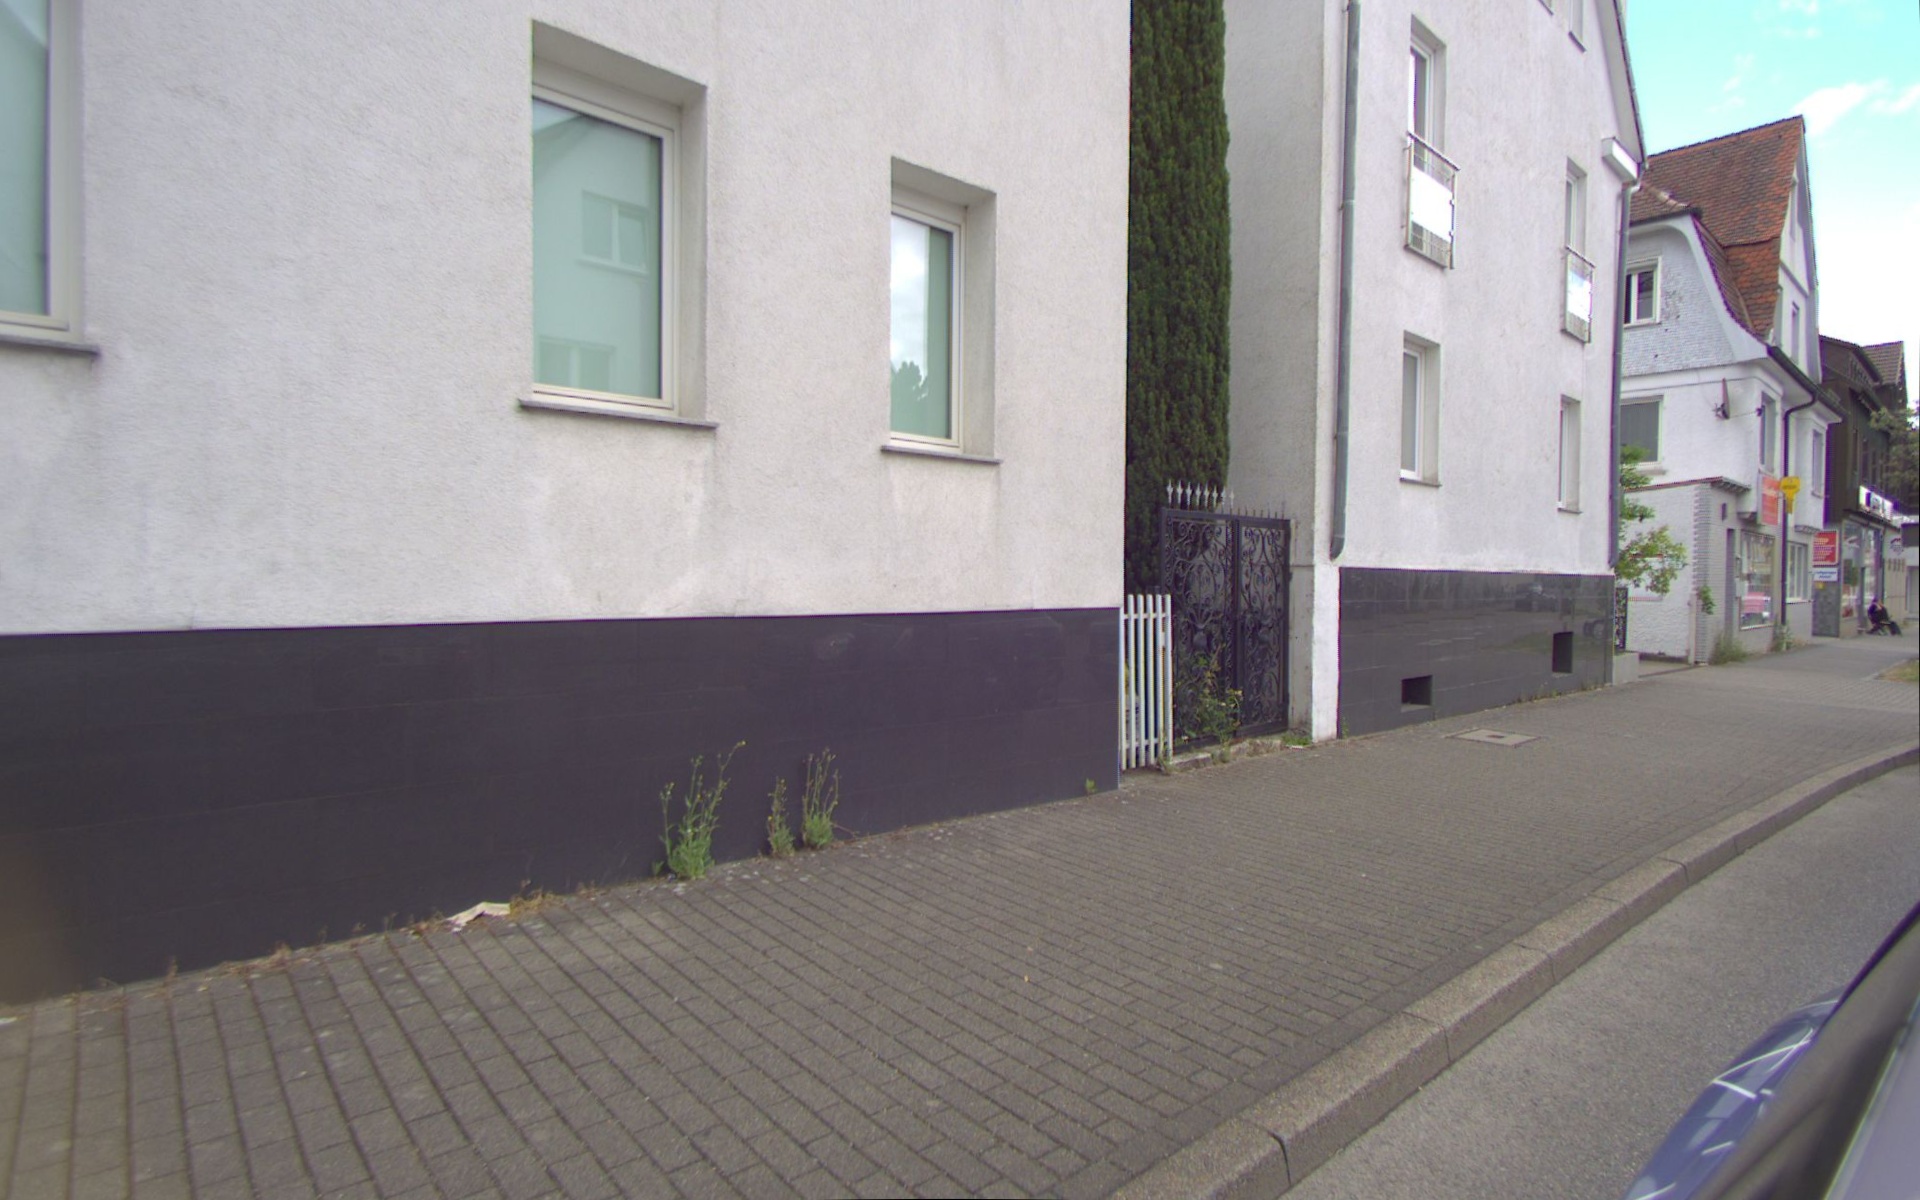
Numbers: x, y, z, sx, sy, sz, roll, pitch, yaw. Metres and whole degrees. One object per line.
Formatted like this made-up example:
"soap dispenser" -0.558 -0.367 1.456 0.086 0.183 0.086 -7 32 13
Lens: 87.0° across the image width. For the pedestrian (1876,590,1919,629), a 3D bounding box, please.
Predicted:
"pedestrian" 32.975 0.330 35.568 0.653 1.295 0.985 1 1 -29
